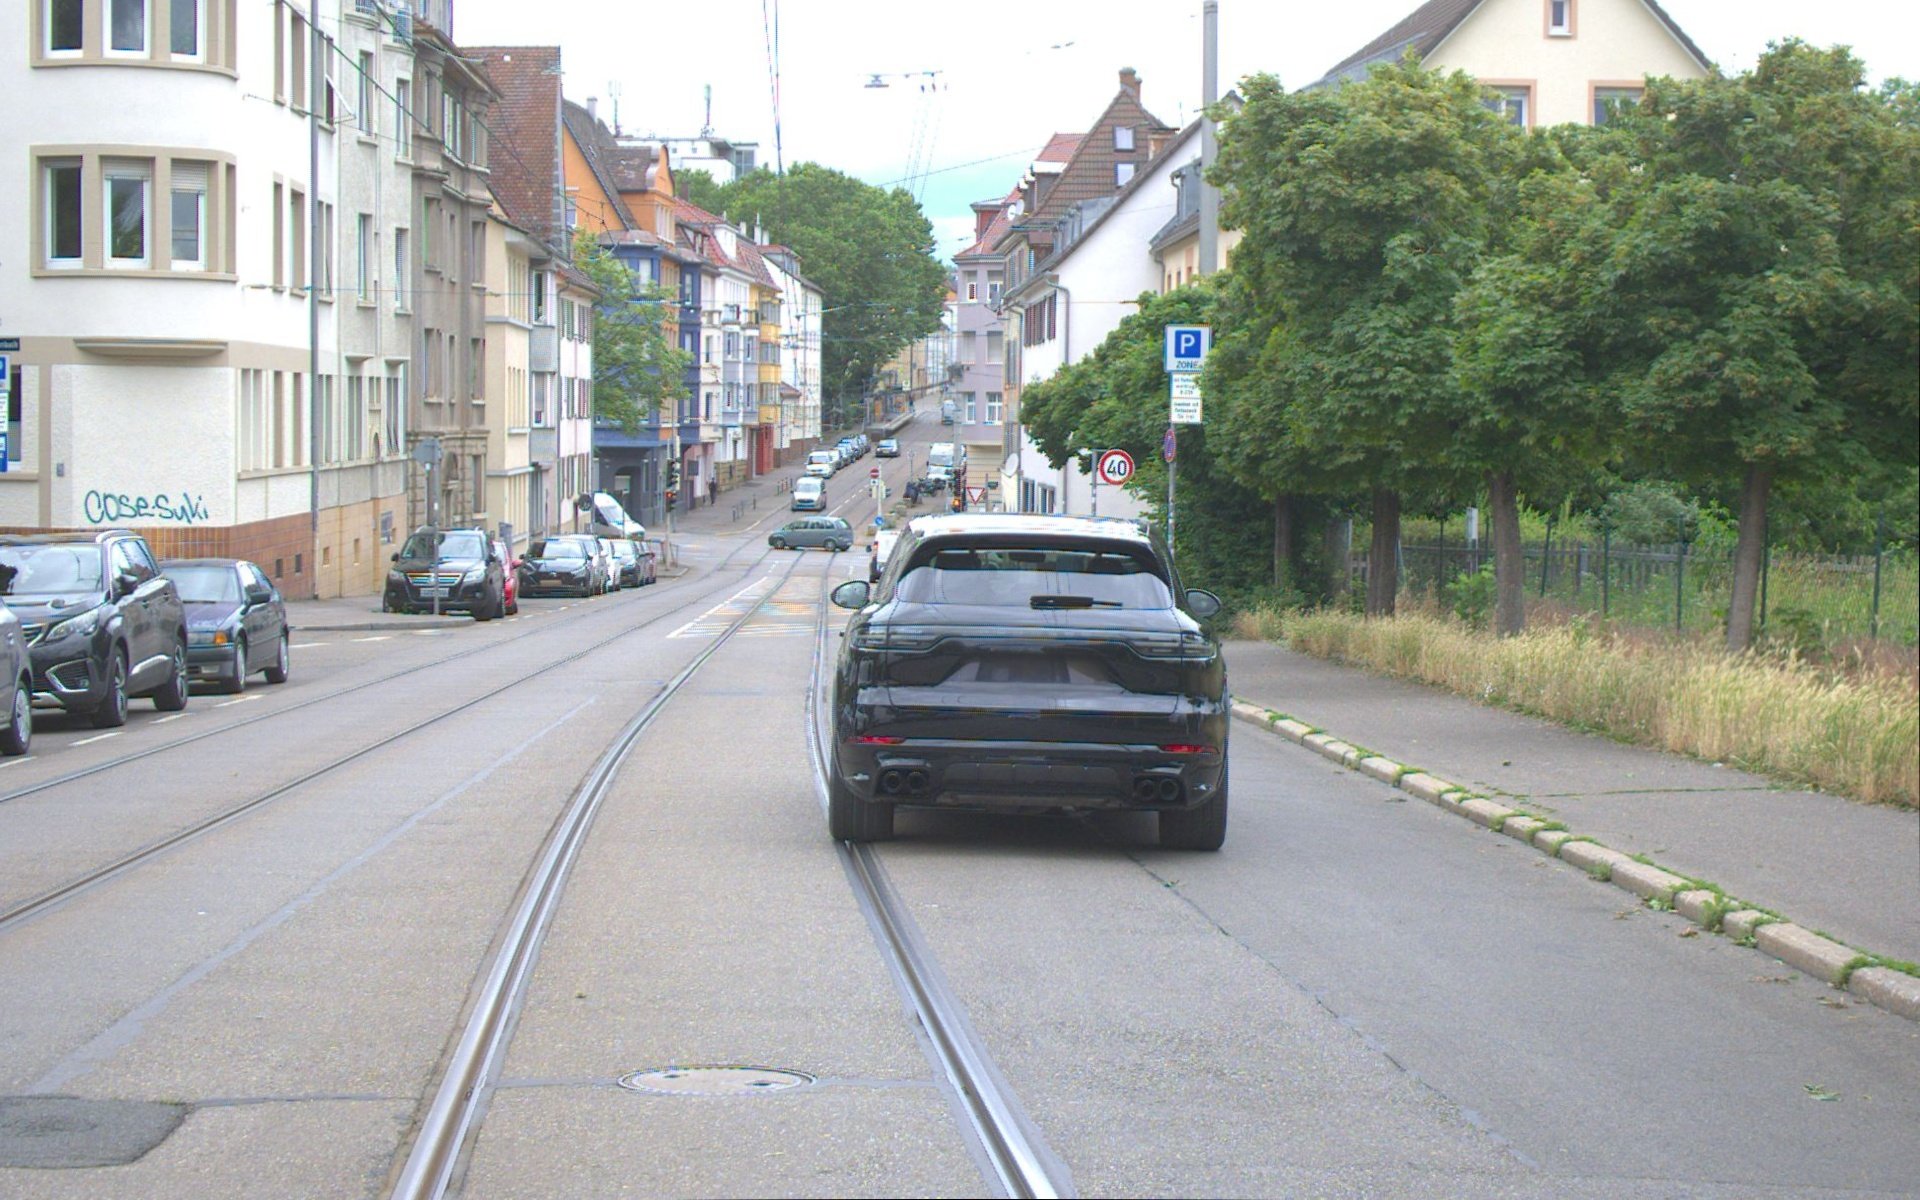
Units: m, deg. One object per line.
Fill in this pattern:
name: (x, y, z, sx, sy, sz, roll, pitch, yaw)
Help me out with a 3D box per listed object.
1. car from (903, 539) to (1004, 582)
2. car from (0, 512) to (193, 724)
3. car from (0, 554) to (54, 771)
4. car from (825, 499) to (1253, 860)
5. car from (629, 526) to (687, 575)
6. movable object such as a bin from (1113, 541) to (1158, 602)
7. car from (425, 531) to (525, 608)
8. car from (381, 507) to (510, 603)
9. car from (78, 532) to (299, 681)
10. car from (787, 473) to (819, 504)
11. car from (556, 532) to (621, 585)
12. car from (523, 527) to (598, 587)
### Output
car: (-0.285, -1.685, 146.410, 3.829, 1.763, 1.998, 1, 1, 22)
car: (-7.935, 0.129, 29.443, 1.968, 1.681, 4.445, 0, 0, -3)
car: (-7.508, 0.433, 23.624, 1.738, 1.504, 3.870, 0, 0, -3)
car: (0.295, 0.344, 18.180, 1.993, 1.670, 4.000, 1, 1, -2)
car: (-9.230, -1.493, 105.179, 1.620, 1.468, 4.556, 0, 0, -3)
movable object such as a bin: (3.568, -0.584, 69.968, 0.792, 1.214, 0.789, 1, 1, -5)
car: (-9.449, -0.586, 67.174, 1.620, 1.458, 3.746, 0, 0, -3)
car: (-9.113, -0.788, 61.159, 1.867, 1.640, 4.403, 0, 0, -3)
car: (-8.079, 0.055, 36.299, 1.620, 1.472, 4.157, 0, 0, -3)
car: (-9.216, -6.548, 202.595, 1.751, 1.753, 4.254, 1, 1, -1)
car: (-10.441, -1.163, 96.770, 1.620, 1.458, 3.685, 0, 0, -3)
car: (-9.960, -1.050, 85.823, 1.620, 1.458, 4.033, 0, 0, -3)
